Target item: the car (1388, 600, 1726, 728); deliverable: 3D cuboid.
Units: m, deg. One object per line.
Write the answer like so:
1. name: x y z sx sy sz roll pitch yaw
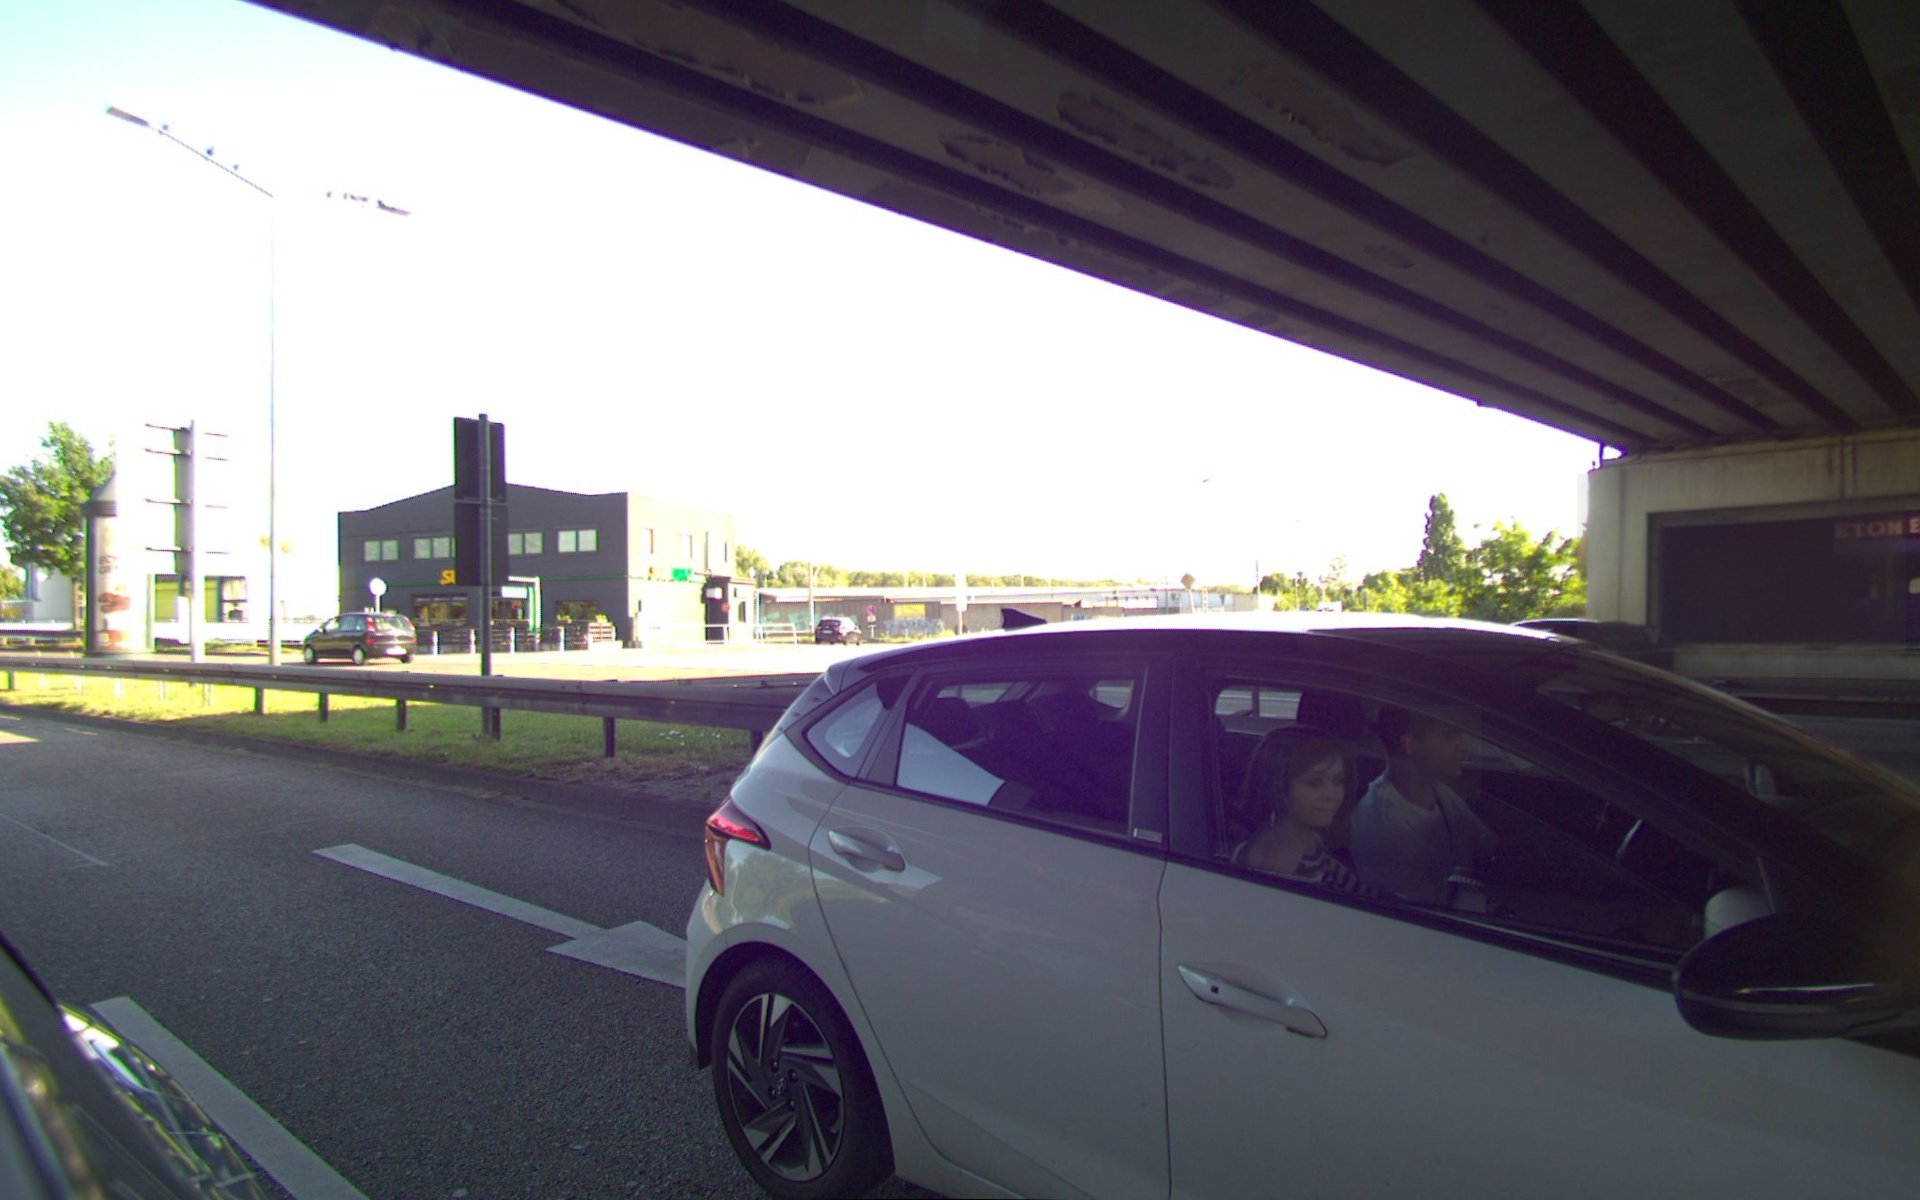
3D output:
1. car: 8.149 0.842 14.000 3.818 1.531 1.603 -2 -2 37

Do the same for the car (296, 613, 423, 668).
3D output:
1. car: -18.844 1.263 31.700 4.171 1.600 1.810 -2 -2 34

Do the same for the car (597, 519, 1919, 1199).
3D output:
1. car: 1.121 0.667 2.183 3.984 1.491 1.717 -1 -1 37

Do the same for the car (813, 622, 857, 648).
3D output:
1. car: -6.737 1.914 55.033 1.806 1.291 4.180 1 -3 1
